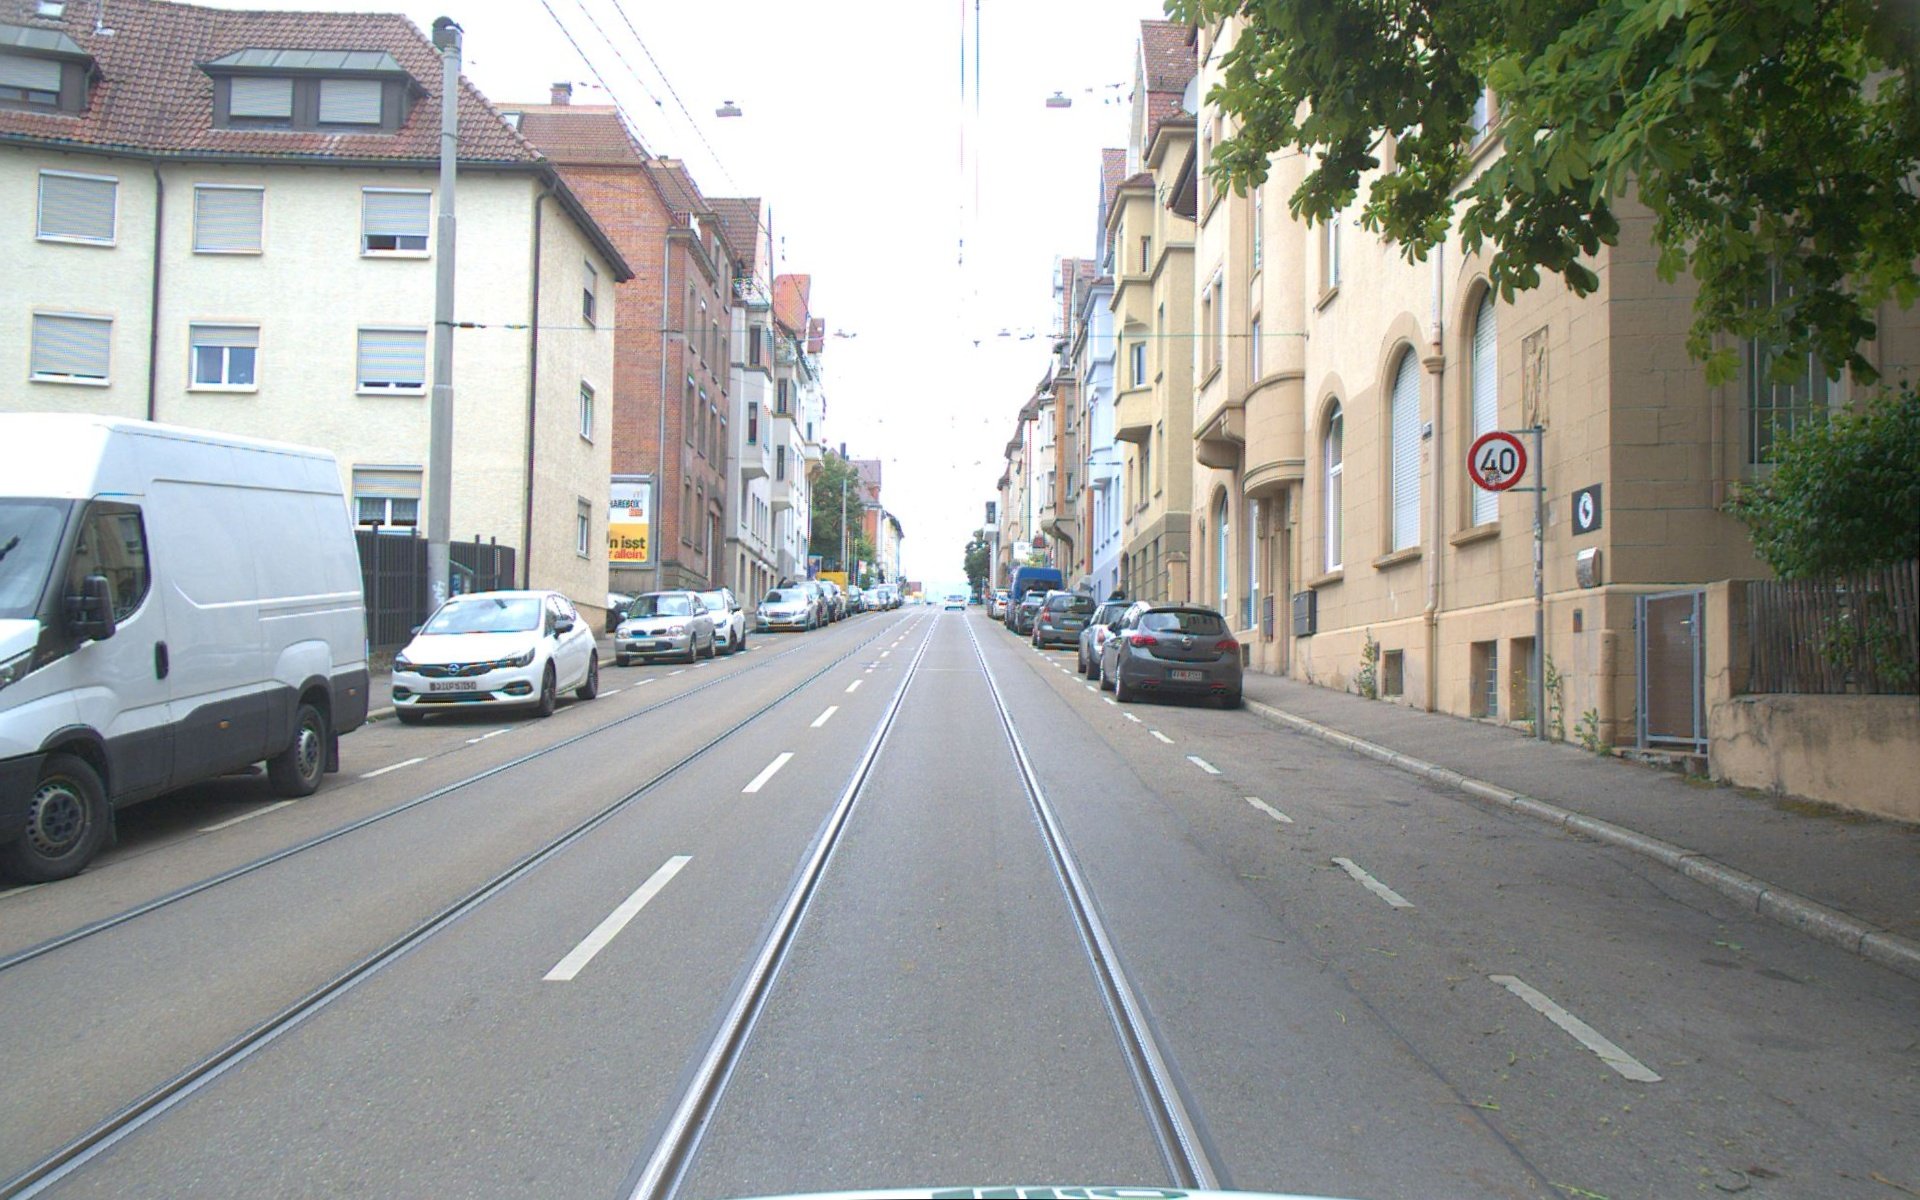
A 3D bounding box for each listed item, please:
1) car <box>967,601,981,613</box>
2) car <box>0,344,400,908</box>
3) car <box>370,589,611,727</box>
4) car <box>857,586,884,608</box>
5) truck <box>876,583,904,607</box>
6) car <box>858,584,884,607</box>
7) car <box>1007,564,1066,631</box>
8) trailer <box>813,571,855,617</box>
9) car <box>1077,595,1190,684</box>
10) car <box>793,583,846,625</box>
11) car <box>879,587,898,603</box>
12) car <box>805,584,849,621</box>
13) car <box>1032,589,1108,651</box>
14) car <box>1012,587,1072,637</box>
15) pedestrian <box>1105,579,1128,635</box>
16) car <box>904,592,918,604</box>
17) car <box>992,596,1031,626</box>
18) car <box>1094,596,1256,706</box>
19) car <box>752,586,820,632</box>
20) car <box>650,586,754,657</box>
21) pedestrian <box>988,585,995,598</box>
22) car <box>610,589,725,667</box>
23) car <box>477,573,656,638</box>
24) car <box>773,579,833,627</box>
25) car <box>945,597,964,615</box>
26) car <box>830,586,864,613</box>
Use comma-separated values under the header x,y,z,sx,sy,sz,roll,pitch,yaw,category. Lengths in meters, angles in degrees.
x,y,z,sx,sy,sz,roll,pitch,yaw,category
2.065,1.006,243.576,1.953,1.590,4.290,1,0,0,car
-5.666,0.123,10.623,2.115,2.652,6.217,-2,1,-2,car
-5.580,0.620,20.228,1.684,1.427,4.313,-2,1,0,car
-6.538,-0.228,120.951,1.662,1.583,3.850,1,0,1,car
-6.679,-0.442,158.965,2.233,2.226,8.025,1,0,1,truck
-7.135,-0.369,132.562,1.708,1.766,4.520,-1,0,1,car
2.902,-0.080,63.742,1.953,2.418,5.055,1,0,0,car
-6.199,-0.325,81.591,1.712,2.193,4.071,-1,1,0,trailer
3.180,0.689,30.893,1.660,1.428,3.667,3,1,0,car
-6.029,0.133,71.548,1.835,1.693,4.892,-1,1,0,car
-6.515,-0.454,150.704,1.662,1.458,4.480,-1,0,-2,car
-6.180,0.104,77.419,1.662,1.621,4.268,-1,1,0,car
2.998,0.512,45.964,1.790,1.545,4.028,3,1,0,car
2.866,0.403,58.516,1.744,1.557,4.191,4,0,-1,car
4.931,0.221,52.151,0.530,1.711,0.515,-3,-2,-9,pedestrian
-6.681,-0.270,225.285,1.817,1.635,4.297,1,0,0,car
2.650,0.538,85.598,1.715,1.414,4.306,3,0,-1,car
3.122,0.712,24.772,1.802,1.427,4.167,3,0,0,car
-6.009,0.277,57.537,1.790,1.454,4.839,-1,1,0,car
-5.900,0.445,38.230,1.791,1.454,4.625,-3,1,-2,car
4.028,-1.099,210.331,0.775,1.696,0.799,1,0,2,pedestrian
-5.912,0.525,33.776,1.567,1.392,3.807,-3,1,1,car
-12.069,0.141,51.051,5.072,1.850,1.939,-1,0,-4,car
-5.942,0.084,63.063,1.790,1.748,4.913,-1,1,0,car
-0.530,0.559,148.700,1.638,1.539,3.796,1,0,-1,car
-6.325,-0.026,93.202,1.662,1.494,3.023,-1,0,0,car
